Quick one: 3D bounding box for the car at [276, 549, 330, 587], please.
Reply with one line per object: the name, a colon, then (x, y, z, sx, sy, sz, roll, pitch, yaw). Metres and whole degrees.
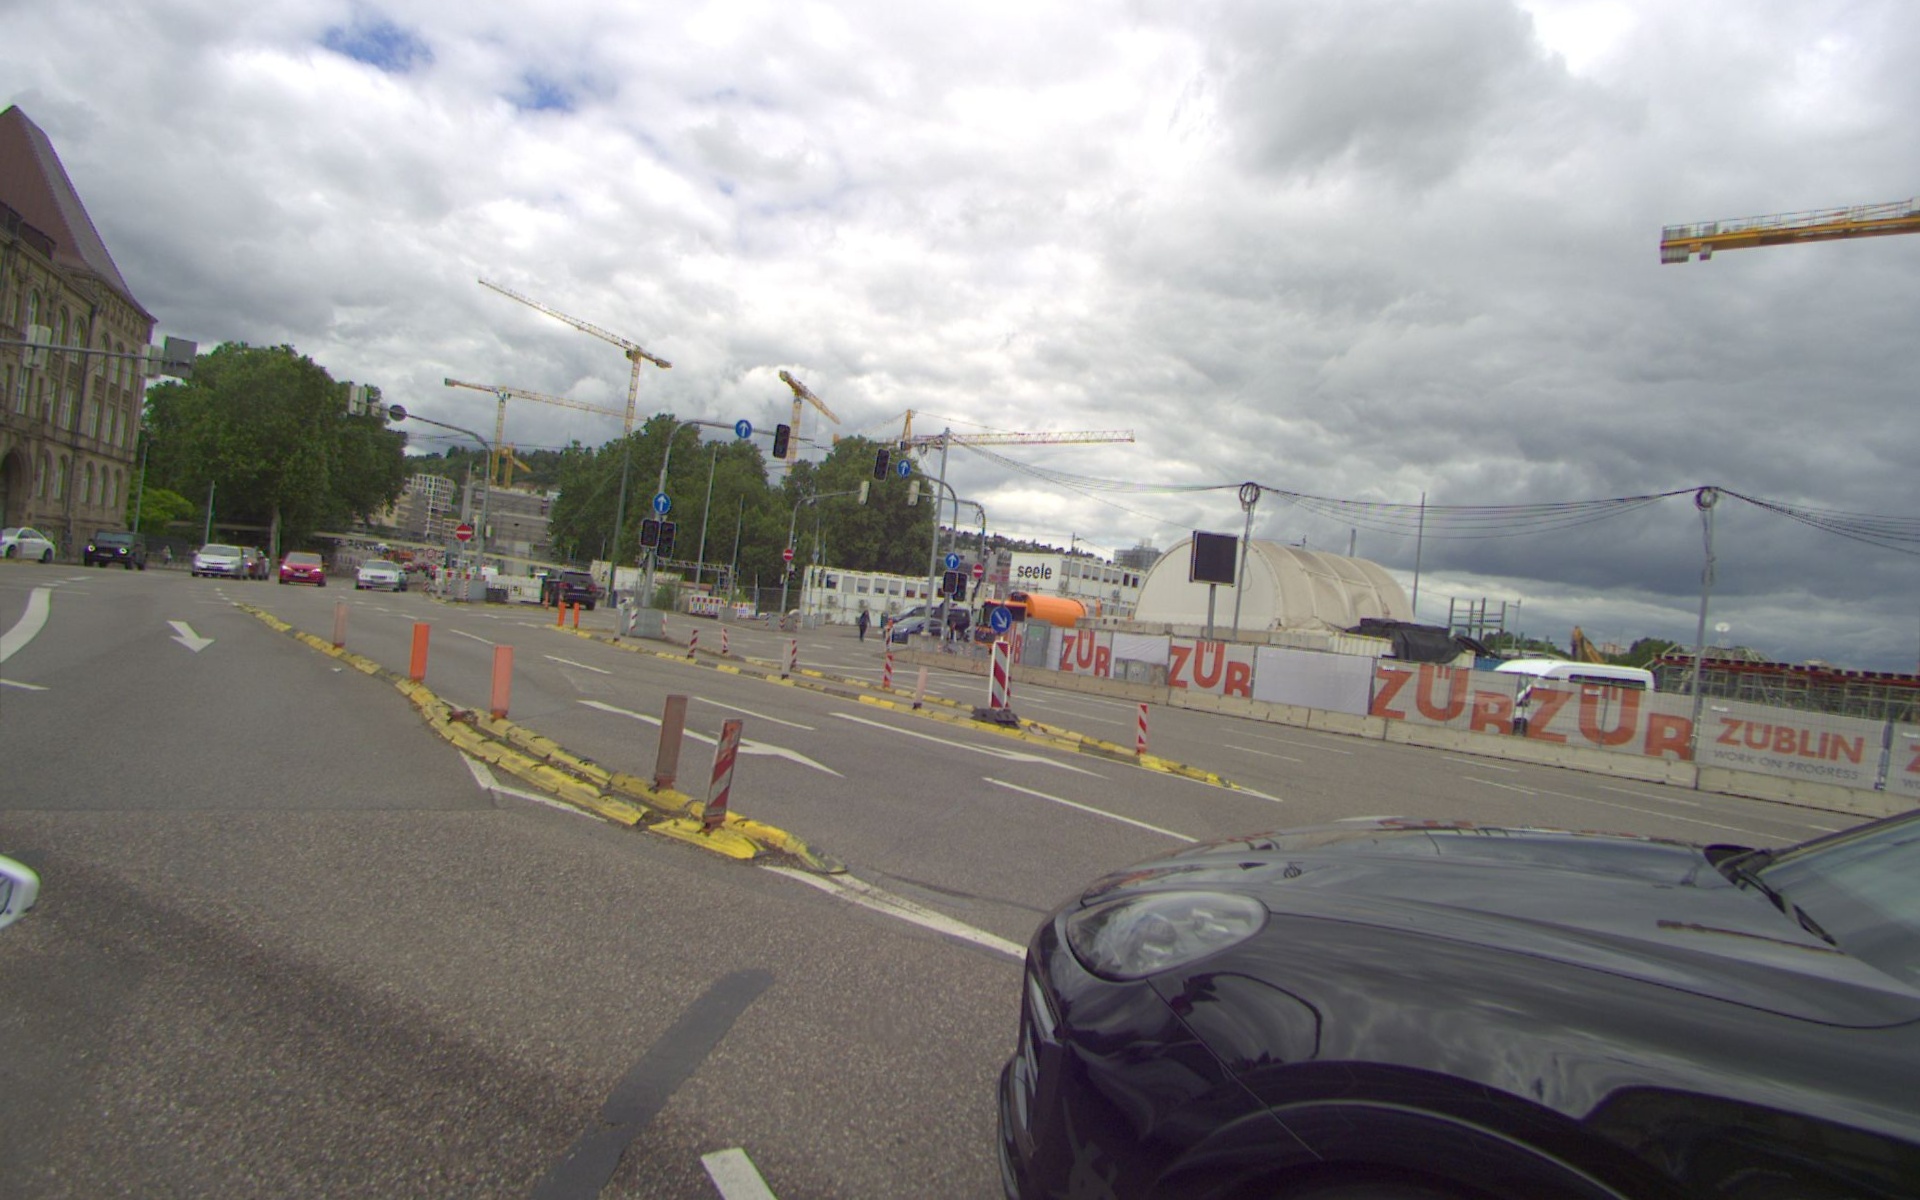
car: (-29.141, -1.417, 44.718, 1.672, 1.453, 3.422, 6, -1, -29)

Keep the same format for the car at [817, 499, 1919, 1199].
car: (2.199, 0.935, 1.378, 4.533, 1.668, 1.953, 6, 0, 33)

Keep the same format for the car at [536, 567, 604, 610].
car: (-18.187, -0.567, 46.880, 1.928, 1.687, 3.607, 7, -2, -36)

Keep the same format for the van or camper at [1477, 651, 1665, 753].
van or camper: (16.623, 2.755, 27.445, 3.934, 2.255, 1.995, 6, 0, -12)

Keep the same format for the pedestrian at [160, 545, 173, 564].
pedestrian: (-69.632, -3.996, 88.269, 0.655, 1.655, 0.843, 6, -1, -34)

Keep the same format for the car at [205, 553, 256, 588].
car: (-36.381, -1.479, 50.222, 1.649, 1.452, 3.419, 8, -2, -31)

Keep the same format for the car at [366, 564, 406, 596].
car: (-29.894, -1.062, 52.417, 1.675, 1.453, 3.422, 5, -1, -29)

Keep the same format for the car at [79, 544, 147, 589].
car: (-44.171, -1.693, 52.548, 1.915, 1.960, 3.652, 5, -3, -28)

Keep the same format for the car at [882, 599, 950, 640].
car: (-2.770, 1.272, 63.816, 1.971, 2.037, 3.986, 8, -1, 39)

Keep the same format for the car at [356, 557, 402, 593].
car: (-26.740, -1.140, 46.352, 1.675, 1.453, 3.422, 5, -1, -29)

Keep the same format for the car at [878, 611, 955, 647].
car: (-2.294, 1.581, 53.894, 1.762, 1.452, 4.050, 7, -1, 41)

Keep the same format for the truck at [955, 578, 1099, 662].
truck: (3.882, 1.211, 55.560, 2.869, 3.720, 8.988, 7, 0, 40)

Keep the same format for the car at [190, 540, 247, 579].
car: (-32.475, -1.734, 44.133, 1.647, 1.453, 3.421, 5, -2, -32)

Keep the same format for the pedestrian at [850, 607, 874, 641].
pedestrian: (-4.858, 1.183, 50.024, 0.838, 1.611, 0.620, 5, -1, 38)

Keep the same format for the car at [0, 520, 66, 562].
car: (-37.644, -2.387, 39.703, 1.715, 1.452, 4.366, 8, -1, -17)

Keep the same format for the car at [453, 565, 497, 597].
car: (-29.394, -1.158, 60.930, 1.747, 1.707, 3.611, 7, -2, -34)

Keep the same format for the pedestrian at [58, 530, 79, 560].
pedestrian: (-52.848, -3.251, 59.640, 0.655, 1.655, 0.843, 6, -1, -34)
